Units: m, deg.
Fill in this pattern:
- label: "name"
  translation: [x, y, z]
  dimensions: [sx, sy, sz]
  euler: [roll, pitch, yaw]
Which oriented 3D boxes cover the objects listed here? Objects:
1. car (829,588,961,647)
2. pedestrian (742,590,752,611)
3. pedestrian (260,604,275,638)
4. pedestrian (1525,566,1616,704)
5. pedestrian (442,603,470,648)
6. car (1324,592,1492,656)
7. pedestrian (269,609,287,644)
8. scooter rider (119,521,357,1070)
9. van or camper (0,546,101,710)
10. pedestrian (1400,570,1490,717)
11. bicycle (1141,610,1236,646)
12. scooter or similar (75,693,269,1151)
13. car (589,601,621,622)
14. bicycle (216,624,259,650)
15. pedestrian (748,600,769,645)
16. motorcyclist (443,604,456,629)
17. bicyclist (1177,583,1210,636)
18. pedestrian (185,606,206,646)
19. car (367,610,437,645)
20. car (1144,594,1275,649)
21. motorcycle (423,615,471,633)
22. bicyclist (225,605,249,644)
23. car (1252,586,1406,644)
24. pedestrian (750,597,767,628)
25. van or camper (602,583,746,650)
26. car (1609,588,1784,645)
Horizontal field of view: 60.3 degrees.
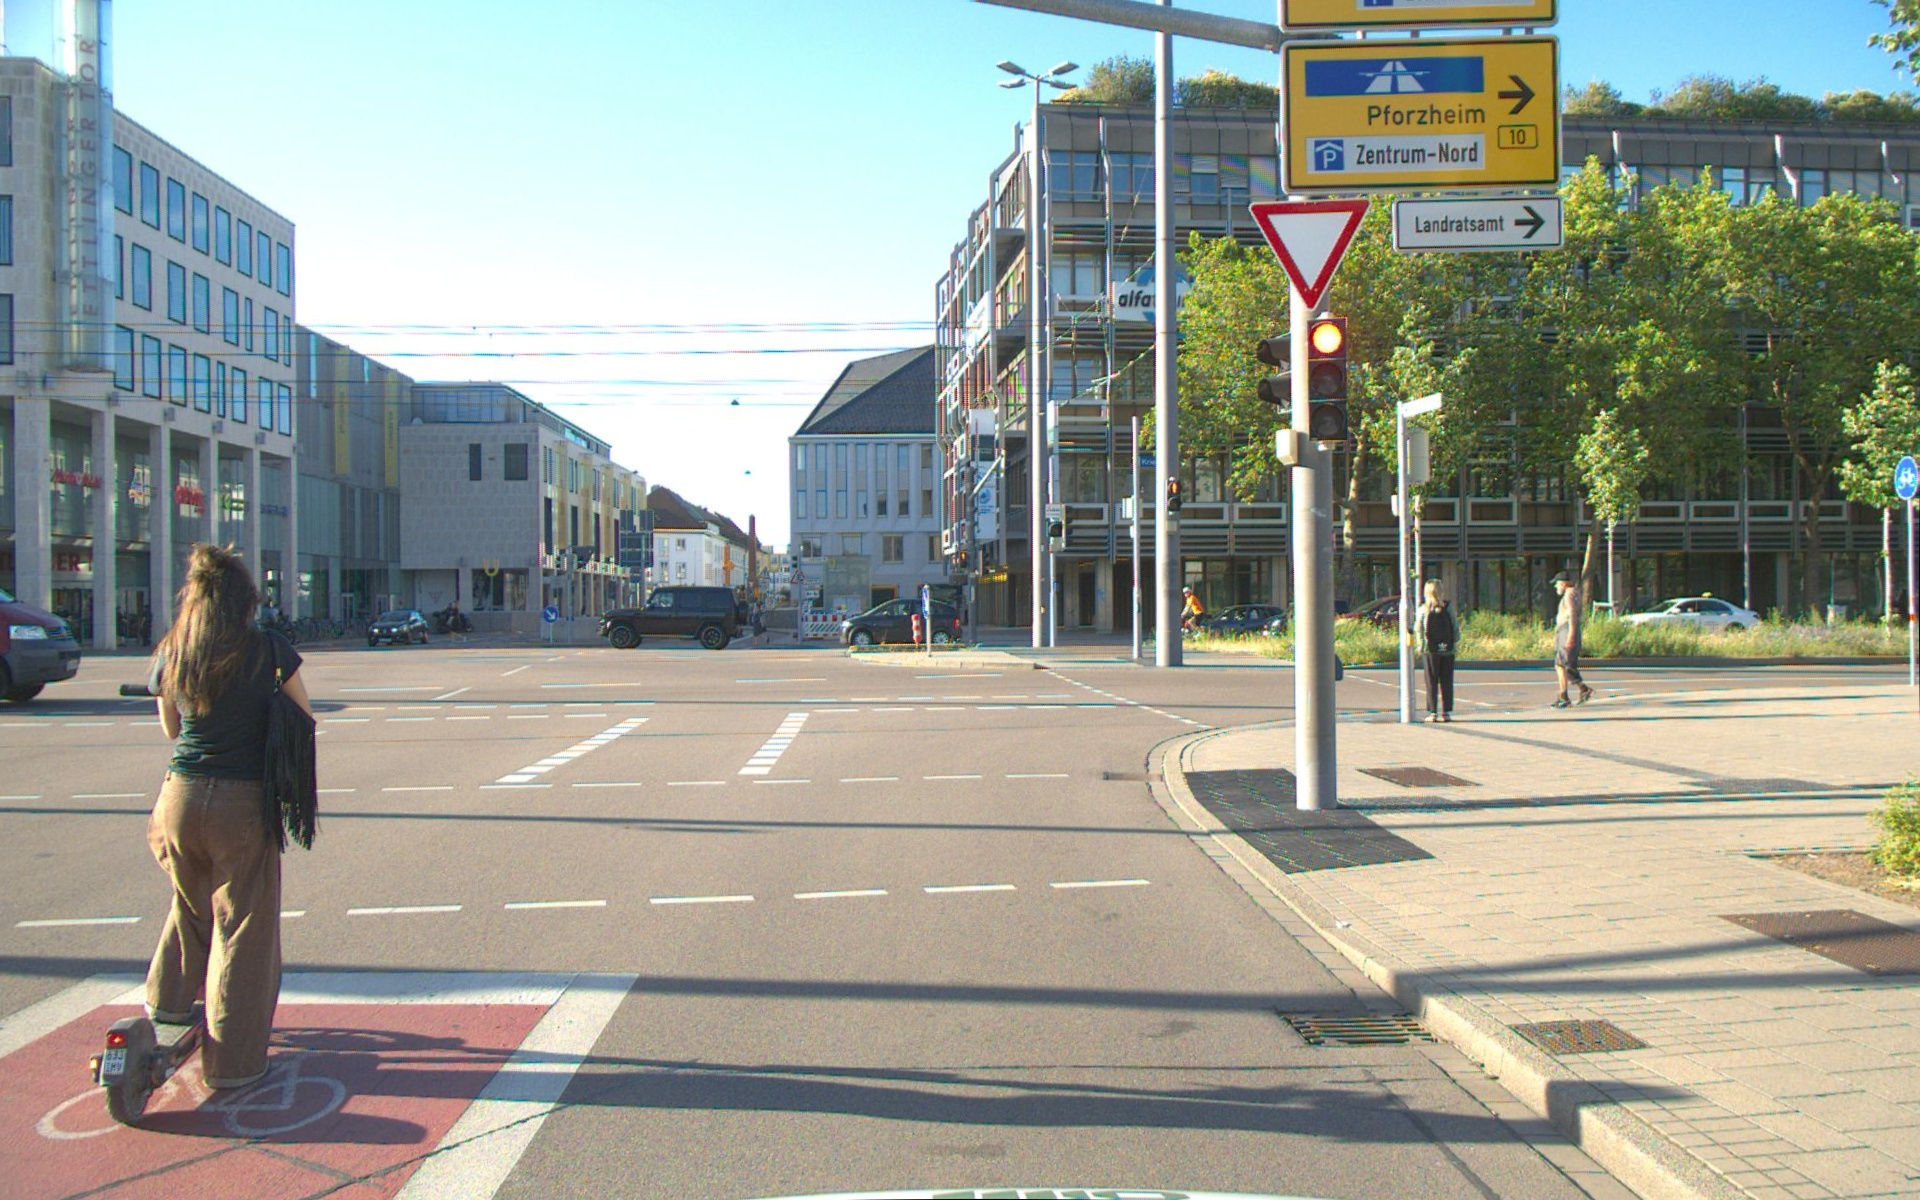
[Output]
- label: "car"
  translation: [-1.945, 0.513, 49.866]
  dimensions: [3.907, 1.713, 1.761]
  euler: [-1, 0, -2]
- label: "pedestrian"
  translation: [-21.150, 0.050, 164.353]
  dimensions: [0.892, 1.999, 0.822]
  euler: [1, -1, -1]
- label: "pedestrian"
  translation: [-35.969, 1.089, 85.921]
  dimensions: [0.462, 1.759, 0.518]
  euler: [0, -1, 38]
- label: "pedestrian"
  translation: [7.834, 0.439, 21.244]
  dimensions: [0.854, 1.736, 0.768]
  euler: [-1, 0, -3]
- label: "pedestrian"
  translation: [-19.157, 0.965, 62.856]
  dimensions: [0.760, 1.667, 0.626]
  euler: [-1, 0, 18]
- label: "car"
  translation: [12.605, 0.646, 46.640]
  dimensions: [4.212, 1.713, 1.820]
  euler: [-1, 0, -11]
- label: "pedestrian"
  translation: [-34.489, 1.332, 83.635]
  dimensions: [0.462, 1.759, 0.692]
  euler: [0, -1, 37]
- label: "scooter rider"
  translation: [-2.147, 0.553, 4.962]
  dimensions: [0.542, 1.556, 0.448]
  euler: [-1, 0, -9]
- label: "van or camper"
  translation: [-13.922, 0.365, 21.254]
  dimensions: [4.745, 2.049, 2.000]
  euler: [-1, 0, -14]
- label: "pedestrian"
  translation: [5.564, 0.489, 19.021]
  dimensions: [0.750, 1.642, 0.874]
  euler: [-1, 0, -2]
- label: "bicycle"
  translation: [6.514, 0.797, 47.192]
  dimensions: [2.517, 0.992, 1.047]
  euler: [-1, 0, -4]
- label: "scooter or similar"
  translation: [-2.218, 0.856, 4.712]
  dimensions: [0.301, 1.127, 0.836]
  euler: [-1, 0, -12]
- label: "car"
  translation: [-26.079, 0.863, 121.591]
  dimensions: [1.625, 1.484, 3.541]
  euler: [-1, 0, -1]
- label: "bicycle"
  translation: [-27.698, 1.411, 63.436]
  dimensions: [0.622, 0.919, 2.218]
  euler: [-1, 0, 0]
- label: "pedestrian"
  translation: [-7.766, 0.846, 63.783]
  dimensions: [0.685, 1.718, 0.619]
  euler: [-1, 0, 0]
- label: "motorcyclist"
  translation: [-30.198, 0.984, 97.900]
  dimensions: [0.616, 1.430, 0.661]
  euler: [1, -1, -9]
- label: "bicyclist"
  translation: [6.669, 0.278, 47.213]
  dimensions: [0.806, 1.500, 0.652]
  euler: [-1, 0, -5]
- label: "pedestrian"
  translation: [-32.615, 1.102, 70.566]
  dimensions: [0.580, 1.674, 0.629]
  euler: [-1, 0, -1]
- label: "car"
  translation: [-23.447, 1.150, 69.617]
  dimensions: [1.642, 1.381, 4.019]
  euler: [-1, 0, -2]
- label: "car"
  translation: [8.105, 0.685, 53.907]
  dimensions: [3.908, 1.713, 1.824]
  euler: [-1, 0, -4]
- label: "motorcycle"
  translation: [-30.251, 1.427, 97.586]
  dimensions: [2.555, 1.010, 1.113]
  euler: [1, 0, -10]
- label: "bicyclist"
  translation: [-27.725, 0.937, 63.424]
  dimensions: [0.613, 1.473, 0.589]
  euler: [-1, 0, 0]
- label: "car"
  translation: [11.422, 0.464, 51.318]
  dimensions: [4.317, 1.713, 1.824]
  euler: [-1, 0, -4]
- label: "pedestrian"
  translation: [-11.650, 0.715, 95.499]
  dimensions: [0.881, 1.814, 0.808]
  euler: [0, 0, -1]
- label: "van or camper"
  translation: [-9.086, 0.499, 52.836]
  dimensions: [4.329, 2.049, 1.993]
  euler: [-1, 0, -5]
- label: "car"
  translation: [23.242, 0.515, 52.298]
  dimensions: [4.749, 1.713, 1.824]
  euler: [-1, 0, -4]
